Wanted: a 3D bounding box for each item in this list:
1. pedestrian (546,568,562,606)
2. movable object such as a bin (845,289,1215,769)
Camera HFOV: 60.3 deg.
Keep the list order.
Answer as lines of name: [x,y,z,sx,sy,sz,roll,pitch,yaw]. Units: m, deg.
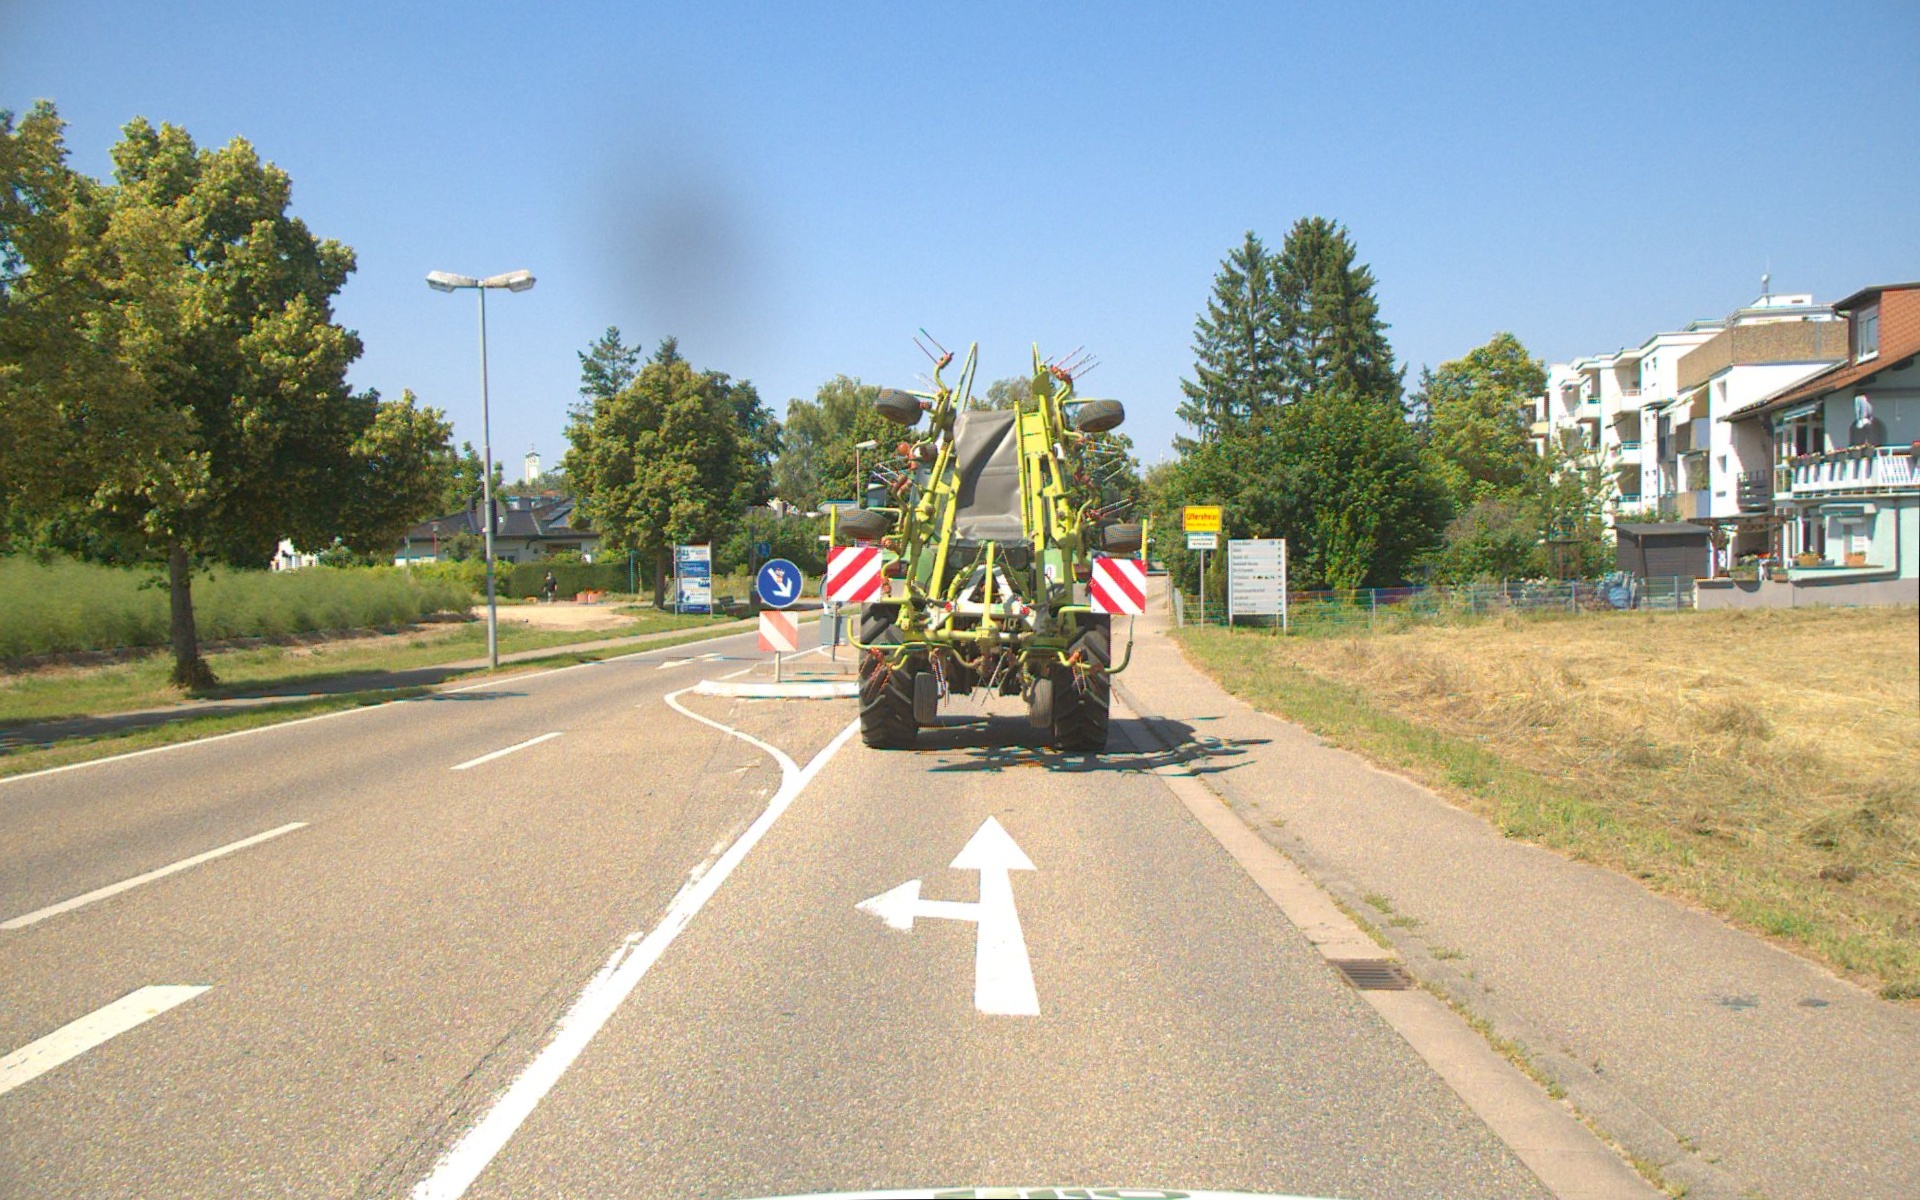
pedestrian: [-19.129,-0.615,77.958,0.665,1.747,0.546,1,-1,-24]
movable object such as a bin: [0.462,-0.576,17.310,2.795,3.603,9.699,0,0,-1]
